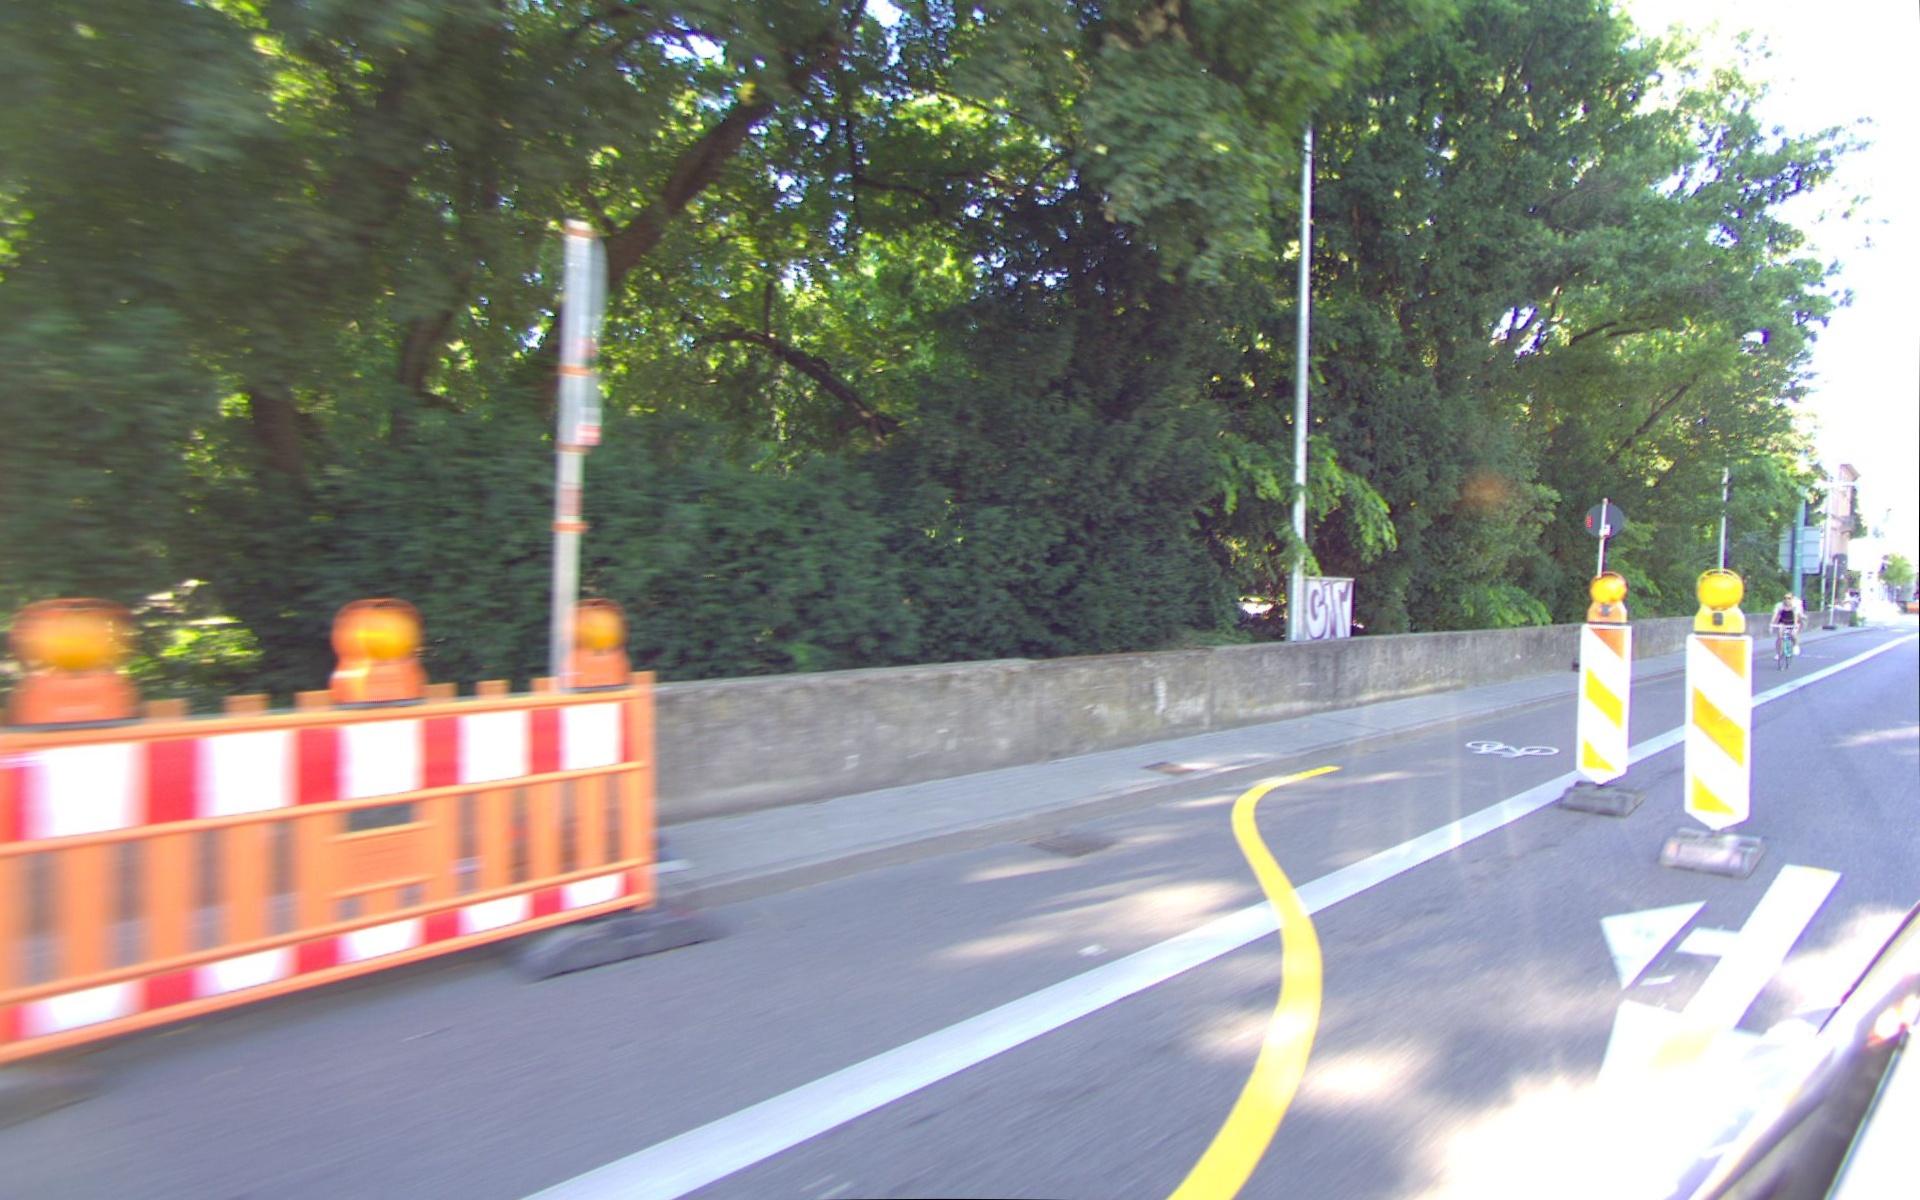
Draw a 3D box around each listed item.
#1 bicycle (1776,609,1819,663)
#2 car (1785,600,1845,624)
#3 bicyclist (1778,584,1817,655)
[{"bbox_3d":[17.303,0.723,20.897,1.480,1.037,0.505,0,2,-44],"label":"bicycle"},{"bbox_3d":[55.599,0.738,65.883,1.979,1.371,3.966,2,2,25],"label":"car"},{"bbox_3d":[17.290,0.382,20.891,0.792,1.424,0.515,0,2,-44],"label":"bicyclist"}]
